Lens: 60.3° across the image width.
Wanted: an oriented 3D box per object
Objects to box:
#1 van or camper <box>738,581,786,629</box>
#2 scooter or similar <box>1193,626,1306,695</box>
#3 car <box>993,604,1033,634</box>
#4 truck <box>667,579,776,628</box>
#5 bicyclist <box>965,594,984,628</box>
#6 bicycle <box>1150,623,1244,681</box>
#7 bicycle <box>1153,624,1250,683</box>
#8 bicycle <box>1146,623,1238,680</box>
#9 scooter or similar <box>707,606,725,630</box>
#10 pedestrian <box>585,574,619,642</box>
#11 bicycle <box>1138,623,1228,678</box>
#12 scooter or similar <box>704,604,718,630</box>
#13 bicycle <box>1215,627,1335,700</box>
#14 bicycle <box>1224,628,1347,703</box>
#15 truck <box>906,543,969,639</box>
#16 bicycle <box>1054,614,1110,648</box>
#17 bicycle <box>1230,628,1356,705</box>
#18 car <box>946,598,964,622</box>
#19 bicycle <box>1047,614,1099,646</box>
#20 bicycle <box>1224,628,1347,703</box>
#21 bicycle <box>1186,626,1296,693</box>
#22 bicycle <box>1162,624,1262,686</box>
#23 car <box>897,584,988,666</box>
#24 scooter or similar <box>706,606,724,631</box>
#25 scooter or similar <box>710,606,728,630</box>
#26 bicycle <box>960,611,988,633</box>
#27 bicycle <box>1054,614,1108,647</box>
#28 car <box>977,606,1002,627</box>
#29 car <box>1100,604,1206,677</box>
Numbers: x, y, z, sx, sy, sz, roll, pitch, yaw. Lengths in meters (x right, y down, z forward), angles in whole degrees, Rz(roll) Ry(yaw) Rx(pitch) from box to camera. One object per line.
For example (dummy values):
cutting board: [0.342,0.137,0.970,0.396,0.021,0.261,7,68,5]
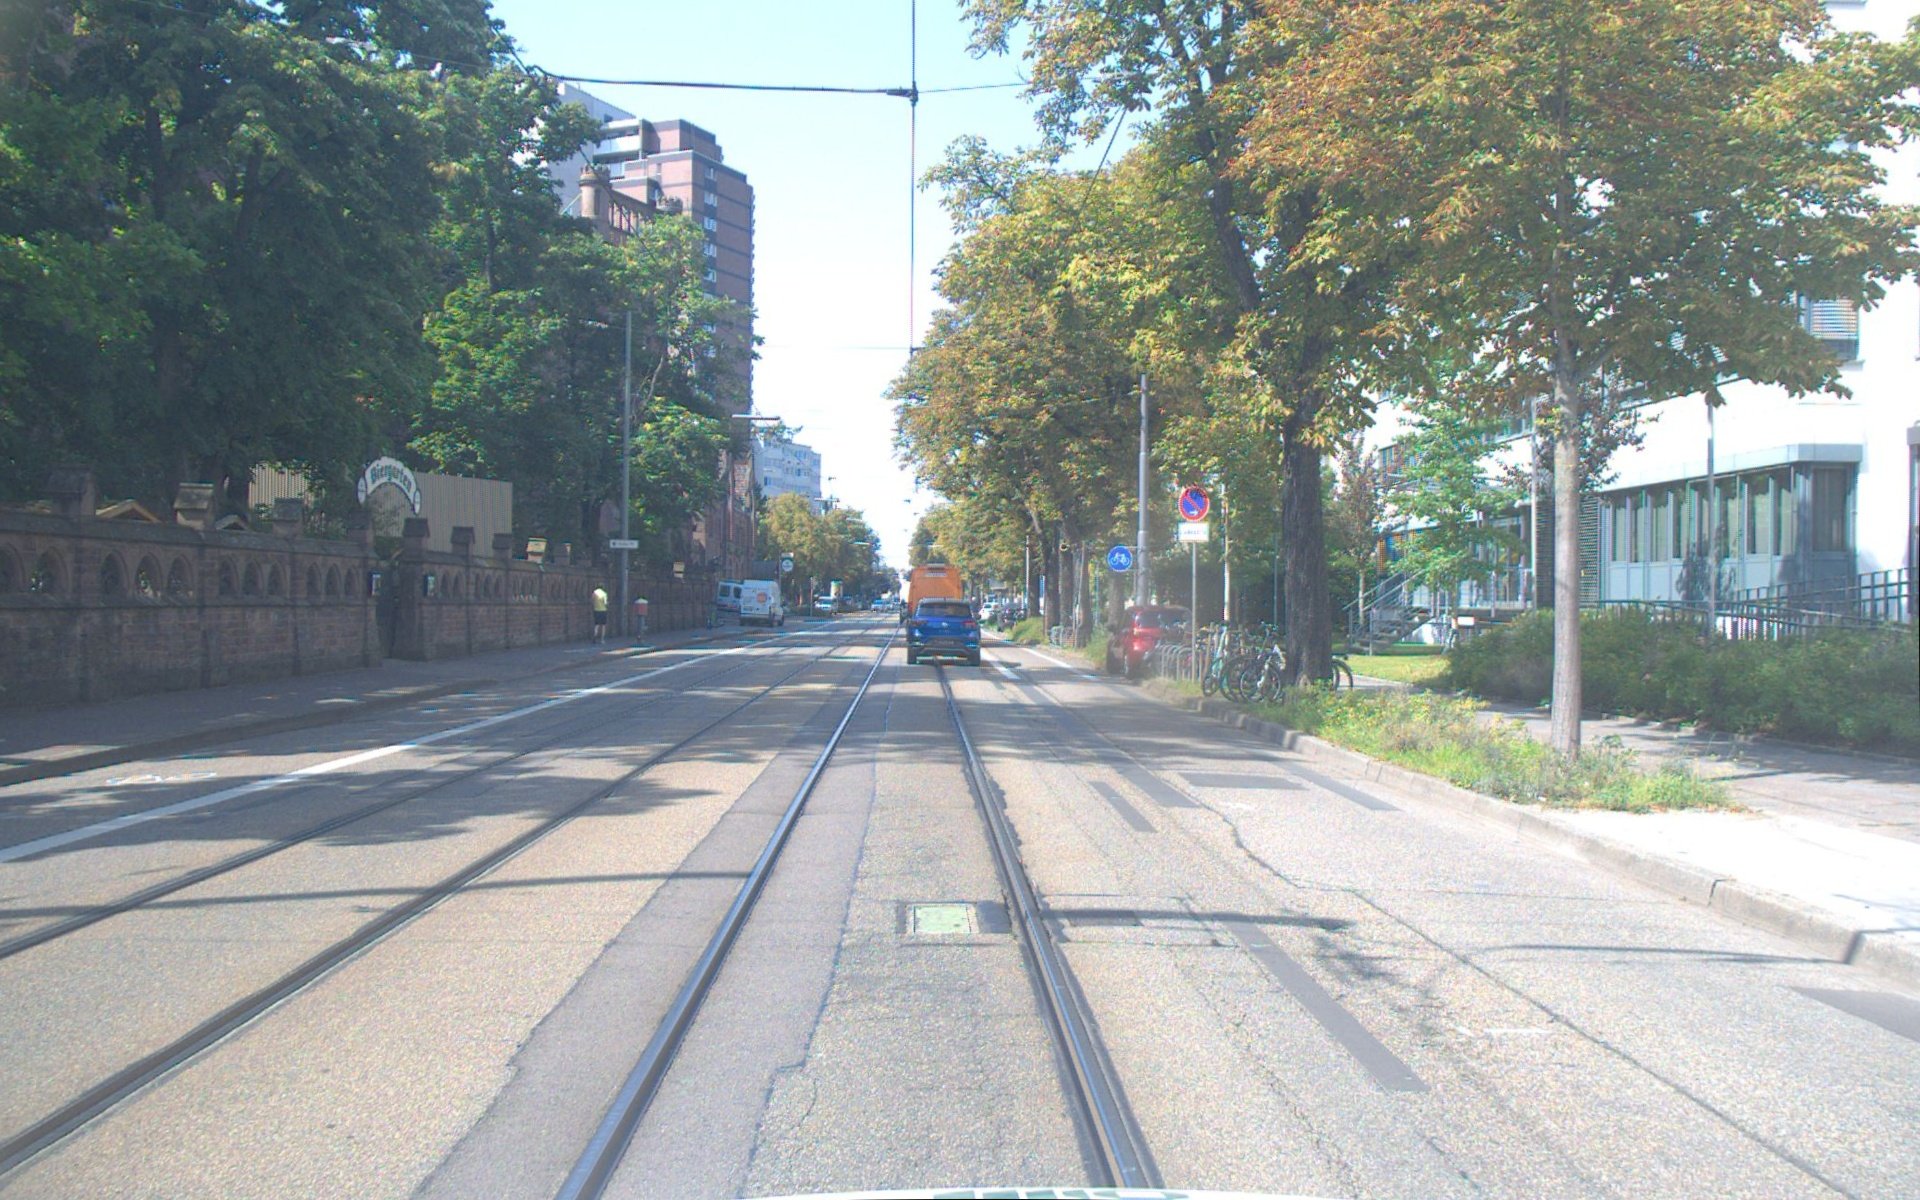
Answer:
van or camper: [-11.580,0.284,97.019,2.069,2.722,5.954,1,0,0]
scooter or similar: [4.744,0.986,27.145,1.736,1.090,0.540,0,0,-3]
car: [2.812,1.003,88.187,1.721,1.542,4.606,-1,0,-3]
truck: [-14.632,0.174,101.769,6.189,2.582,2.132,4,1,3]
bicyclist: [0.780,0.621,90.306,1.011,1.844,1.016,1,-1,-2]
bicycle: [4.607,1.011,32.224,1.736,1.090,0.540,0,0,-3]
bicycle: [4.580,1.007,31.412,1.736,1.090,0.540,0,0,-3]
bicycle: [4.614,1.015,32.899,1.736,1.090,0.540,0,0,-3]
scooter or similar: [-12.136,0.903,82.298,0.332,1.199,1.177,0,-1,23]
pedestrian: [-10.842,0.240,50.119,0.847,2.049,0.983,1,-1,-4]
bicycle: [4.532,1.018,33.671,1.736,1.090,0.540,0,0,-3]
scooter or similar: [-11.571,0.789,76.843,0.414,1.199,1.310,1,0,-17]
bicycle: [4.847,0.978,25.515,1.736,1.090,0.540,0,0,-3]
bicycle: [4.905,0.976,24.939,1.736,1.090,0.540,0,0,-3]
truck: [-0.827,-0.286,58.271,2.092,3.179,6.082,0,0,-1]
bicycle: [3.975,1.010,53.922,1.736,1.068,0.540,0,0,-3]
bicycle: [4.869,0.972,24.219,1.736,1.090,0.540,0,0,-3]
car: [-0.623,1.213,203.219,1.954,2.804,5.758,1,0,-3]
bicycle: [3.911,1.026,57.078,1.736,1.068,0.540,0,0,-3]
bicycle: [4.895,0.976,24.916,1.736,1.090,0.540,0,0,-3]
bicycle: [4.708,0.988,27.731,1.736,1.090,0.540,0,0,-3]
bicycle: [4.611,1.001,30.311,1.736,1.090,0.540,0,0,-3]
car: [-0.472,0.589,40.954,2.092,1.891,5.566,0,0,-1]
scooter or similar: [-12.016,0.898,81.130,0.332,1.199,1.177,0,-1,23]
scooter or similar: [-12.152,0.909,83.432,0.332,1.199,1.177,0,-1,23]
bicycle: [0.739,1.209,90.299,1.373,1.154,3.998,0,0,-2]
bicycle: [3.999,1.014,54.601,1.736,1.068,0.540,0,0,-3]
car: [2.121,1.178,119.051,1.625,1.507,4.215,0,-1,-1]
car: [4.181,0.838,36.356,1.720,1.487,4.273,0,0,-2]
